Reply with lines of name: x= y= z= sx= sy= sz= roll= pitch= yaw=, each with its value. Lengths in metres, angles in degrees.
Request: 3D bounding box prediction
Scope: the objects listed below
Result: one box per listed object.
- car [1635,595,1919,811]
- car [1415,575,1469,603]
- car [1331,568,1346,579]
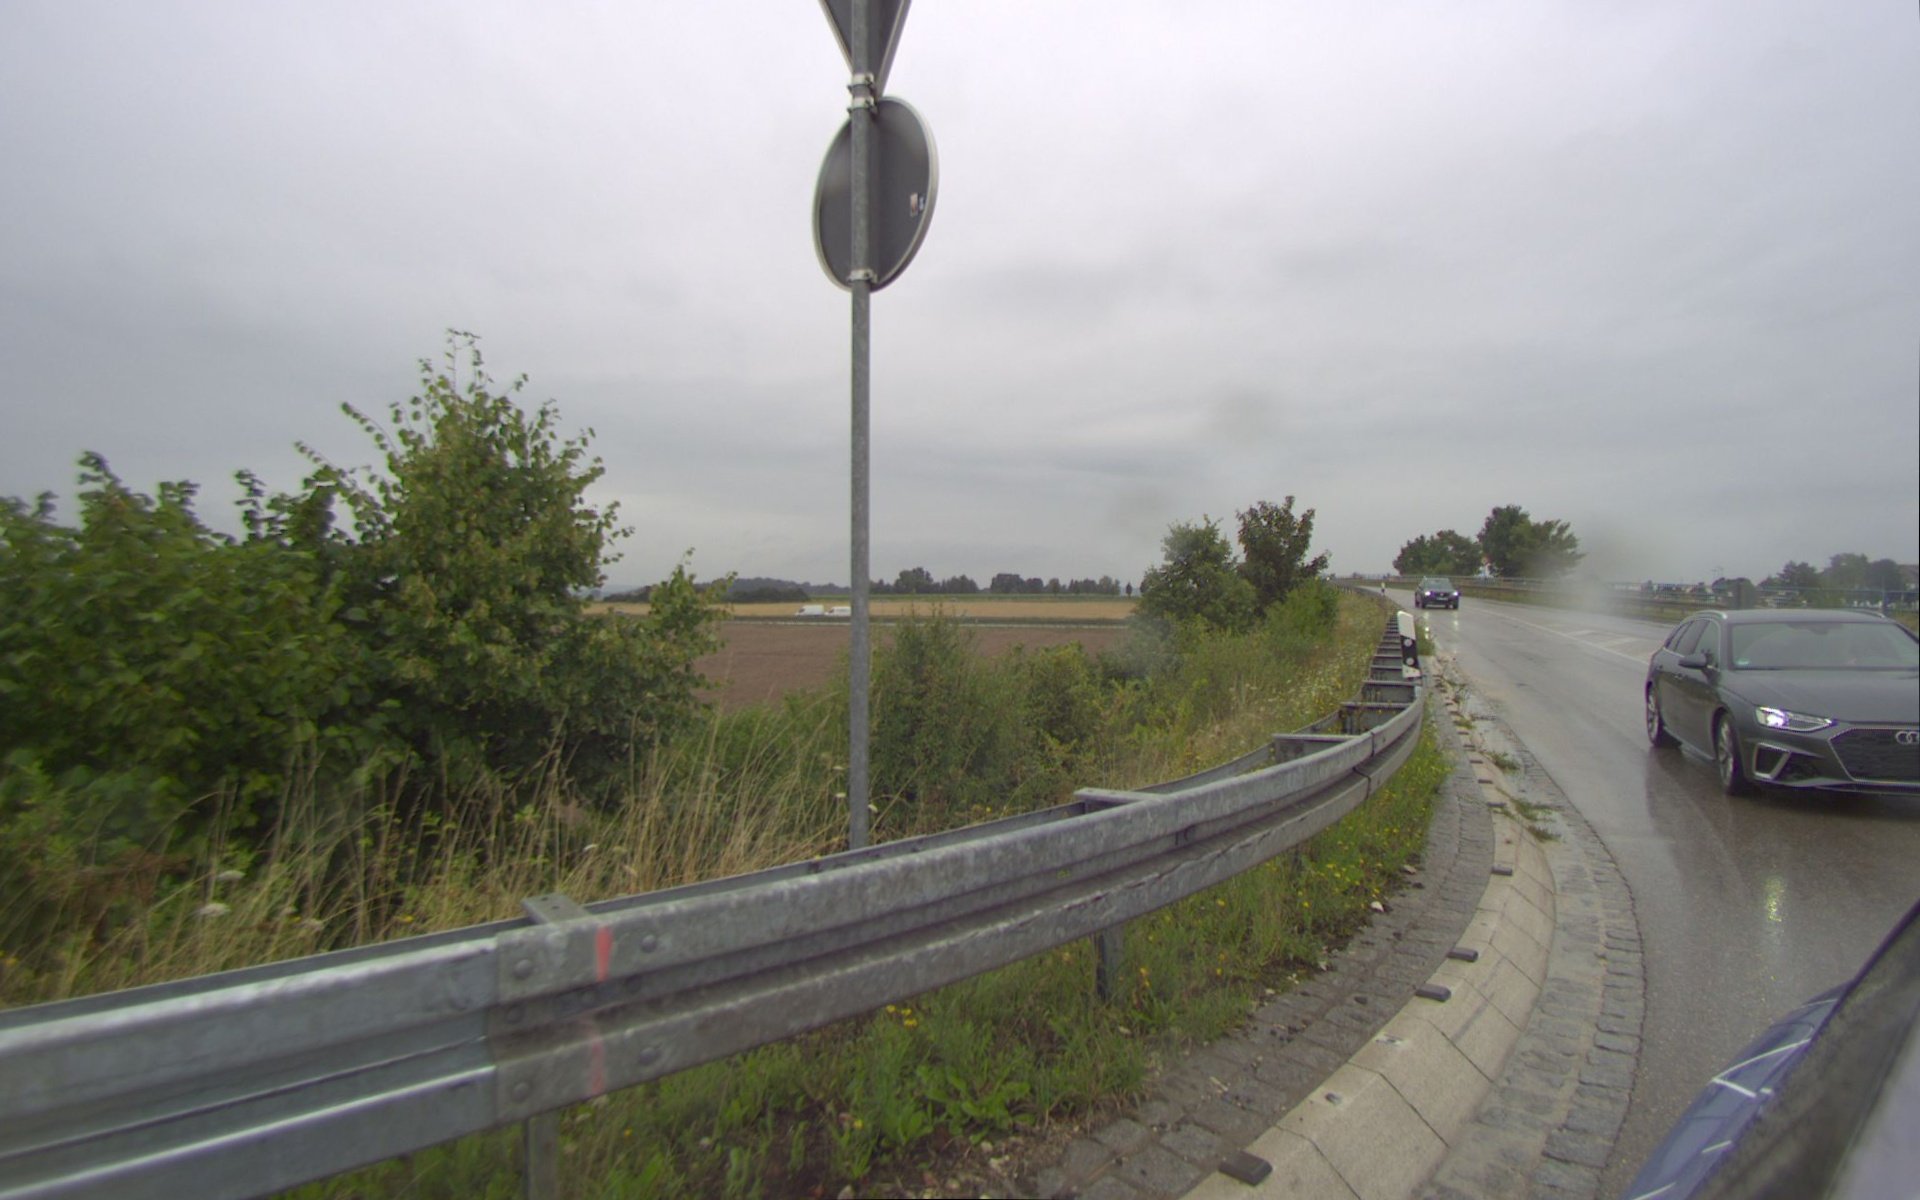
car: x=7.458 y=0.695 z=8.819 sx=1.890 sy=1.386 sz=4.526 roll=-2 pitch=0 yaw=25
car: x=24.945 y=-0.586 z=52.533 sx=1.885 sy=1.386 sz=4.541 roll=0 pitch=2 yaw=17
car: x=56.306 y=-4.012 z=150.581 sx=1.762 sy=1.544 sz=4.149 roll=1 pitch=2 yaw=16
